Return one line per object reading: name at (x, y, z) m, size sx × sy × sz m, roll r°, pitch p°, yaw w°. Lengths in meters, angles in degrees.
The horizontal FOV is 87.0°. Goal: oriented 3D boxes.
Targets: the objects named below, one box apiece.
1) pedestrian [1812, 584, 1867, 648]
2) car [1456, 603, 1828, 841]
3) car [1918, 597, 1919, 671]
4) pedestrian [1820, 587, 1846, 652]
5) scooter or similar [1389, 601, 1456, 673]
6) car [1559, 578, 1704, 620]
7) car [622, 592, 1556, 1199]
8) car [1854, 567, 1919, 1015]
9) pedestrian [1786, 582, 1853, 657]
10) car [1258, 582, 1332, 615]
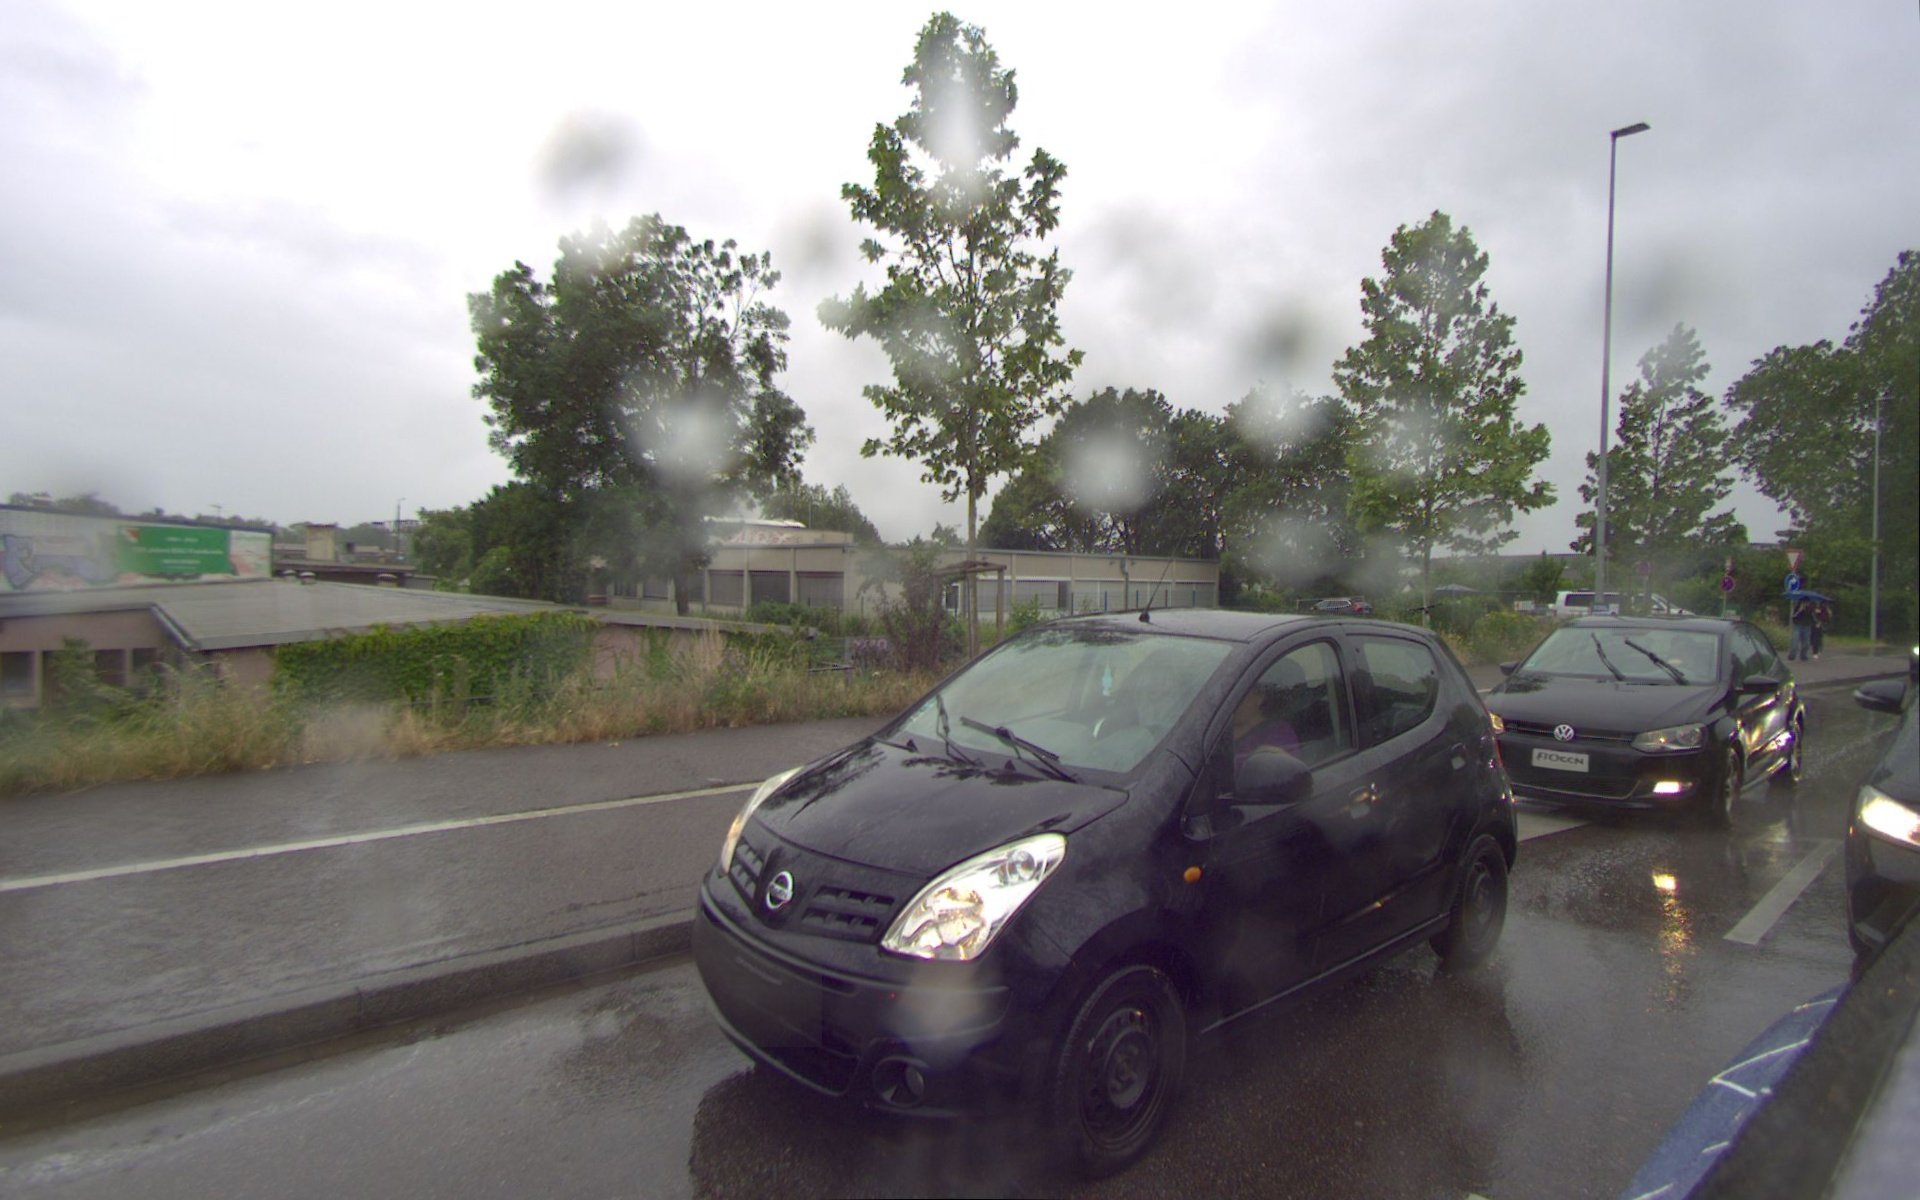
pedestrian at (25.279, 0.439, 29.092) m, size 0.876 × 1.729 × 1.024 m, roll 0°, pitch 3°, yaw -41°
car at (5.505, 0.758, 8.014) m, size 3.561 × 1.447 × 1.631 m, roll 0°, pitch 0°, yaw -42°
car at (22.517, 0.718, 22.299) m, size 3.747 × 1.594 × 1.697 m, roll -1°, pitch 0°, yaw -41°
pedestrian at (23.094, 0.499, 26.780) m, size 0.433 × 1.682 × 0.400 m, roll 0°, pitch 3°, yaw -42°
scooter or similar at (7.899, 0.610, 17.242) m, size 1.747 × 1.144 × 0.380 m, roll -1°, pitch 2°, yaw -43°
car at (28.049, -0.064, 42.386) m, size 1.966 × 1.670 × 4.752 m, roll -1°, pitch 1°, yaw -42°
car at (0.763, 0.713, 3.877) m, size 3.561 × 1.447 × 1.631 m, roll 0°, pitch 0°, yaw -42°
car at (5.420, 0.668, 4.464) m, size 4.091 × 1.607 × 1.688 m, roll -1°, pitch 0°, yaw -41°
pedestrian at (21.530, 0.461, 25.357) m, size 0.953 × 1.777 × 1.081 m, roll 0°, pitch 2°, yaw -41°
car at (21.000, -0.111, 63.470) m, size 1.964 × 2.039 × 3.996 m, roll 0°, pitch 0°, yaw -38°
